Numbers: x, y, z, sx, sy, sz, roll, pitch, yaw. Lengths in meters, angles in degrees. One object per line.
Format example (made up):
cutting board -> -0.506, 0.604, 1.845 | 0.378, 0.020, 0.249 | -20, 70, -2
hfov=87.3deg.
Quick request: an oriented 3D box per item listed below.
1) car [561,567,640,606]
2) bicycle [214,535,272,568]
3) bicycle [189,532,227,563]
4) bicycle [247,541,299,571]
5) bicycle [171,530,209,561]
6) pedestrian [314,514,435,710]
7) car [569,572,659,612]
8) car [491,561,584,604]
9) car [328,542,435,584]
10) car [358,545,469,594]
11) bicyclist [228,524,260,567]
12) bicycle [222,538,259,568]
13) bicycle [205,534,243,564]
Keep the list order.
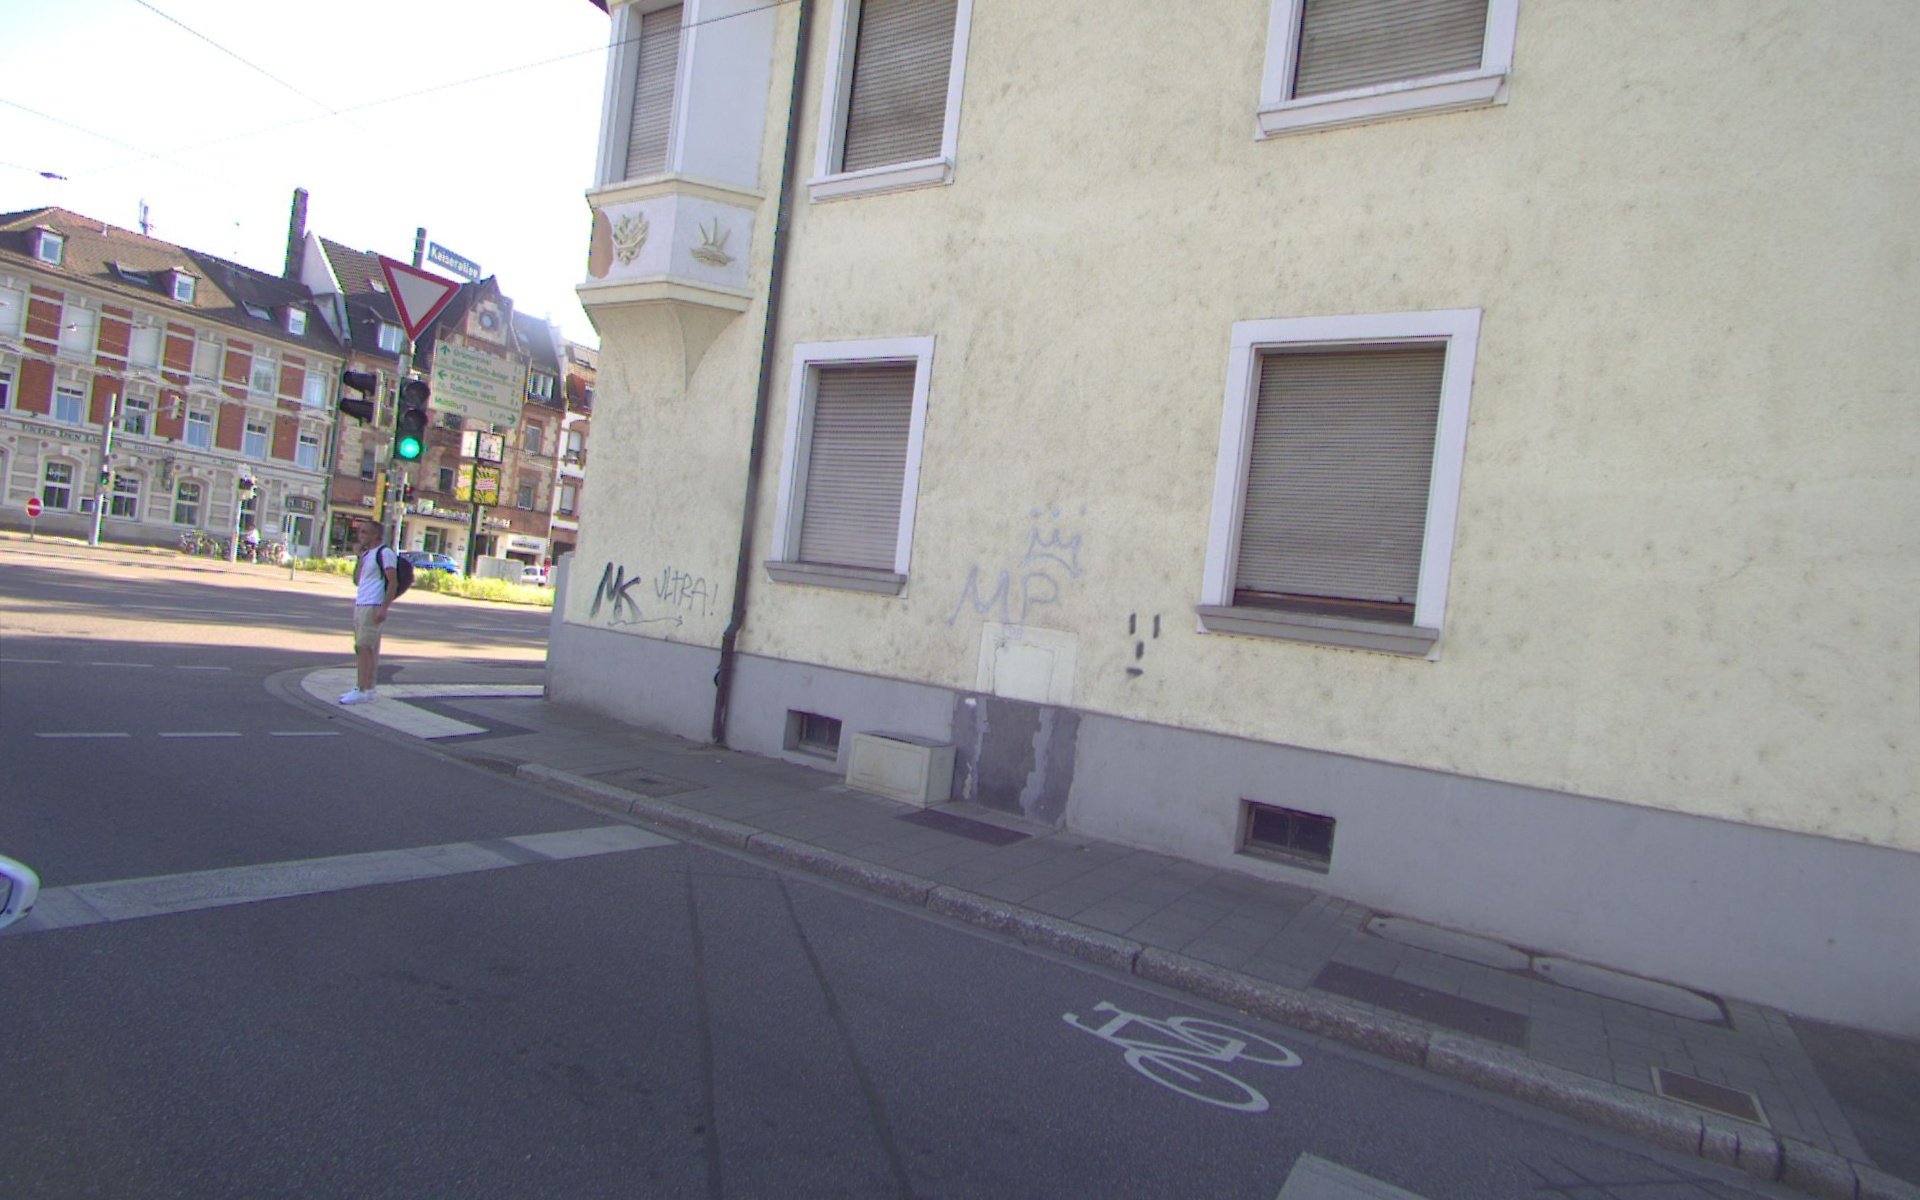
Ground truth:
car -> -23.230, -0.850, 65.193 | 1.922, 1.988, 4.411 | 7, -1, 31
bicycle -> -32.368, -2.194, 45.451 | 0.592, 1.205, 1.962 | 7, -1, 34
bicycle -> -34.537, -2.401, 46.194 | 1.935, 1.205, 0.678 | 7, 0, 33
bicycle -> -32.874, -2.097, 48.175 | 0.667, 1.205, 1.968 | 7, -1, 20
bicycle -> -34.877, -2.486, 45.581 | 1.935, 1.205, 0.678 | 7, 0, 33
pedestrian -> -5.611, 0.106, 9.673 | 0.661, 1.764, 0.689 | 5, 2, 2
car -> -19.394, -0.399, 56.607 | 1.922, 1.688, 4.480 | 7, -1, 31
car -> -21.912, -0.909, 52.342 | 1.922, 1.688, 3.993 | 7, -1, 31
car -> -27.821, -1.747, 48.475 | 1.815, 1.429, 3.993 | 7, -1, 31
car -> -25.396, -1.387, 46.839 | 1.922, 1.688, 3.993 | 7, -1, 31
bicyclist -> -32.335, -2.446, 45.445 | 0.592, 1.785, 0.873 | 7, 0, 34
bicycle -> -33.851, -2.215, 47.323 | 1.935, 1.205, 0.678 | 7, 0, 33
bicycle -> -34.197, -2.363, 46.750 | 1.935, 1.205, 0.678 | 7, 0, 33
